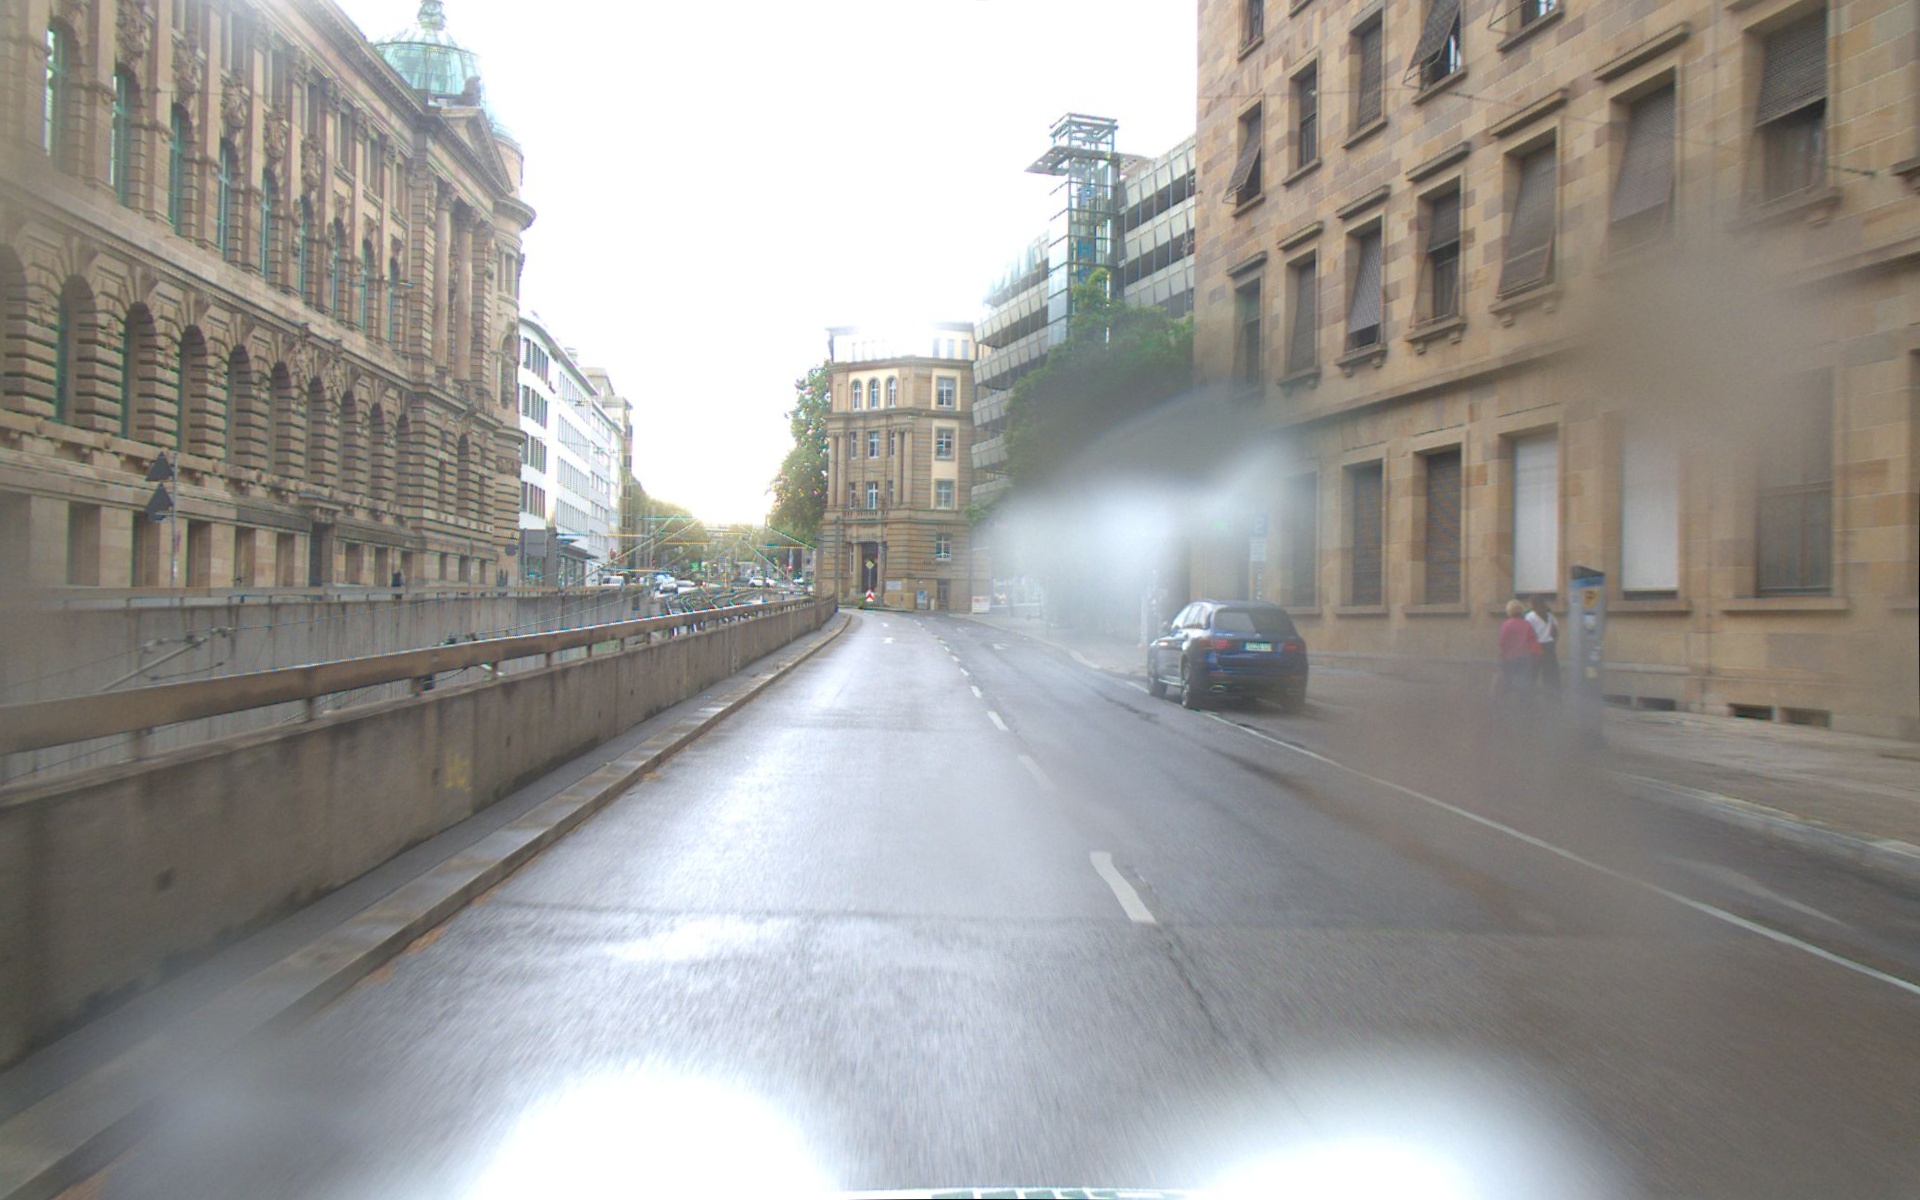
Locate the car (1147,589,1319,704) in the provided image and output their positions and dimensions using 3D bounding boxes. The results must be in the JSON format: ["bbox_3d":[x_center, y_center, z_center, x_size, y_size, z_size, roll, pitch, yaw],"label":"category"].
[{"bbox_3d":[4.245,0.689,26.370,1.733,1.647,4.153,1,0,-5],"label":"car"}]

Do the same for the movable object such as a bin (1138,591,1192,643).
[{"bbox_3d":[5.437,0.449,43.929,1.214,1.333,1.233,-1,0,-2],"label":"movable object such as a bin"}]

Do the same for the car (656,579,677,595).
[{"bbox_3d":[-29.662,-1.282,167.276,1.956,1.554,3.656,2,0,-8],"label":"car"}]

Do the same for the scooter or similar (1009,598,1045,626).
[{"bbox_3d":[3.270,0.576,80.833,1.616,1.290,0.736,-1,1,-28],"label":"scooter or similar"}]

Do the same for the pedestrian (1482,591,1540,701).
[{"bbox_3d":[7.744,0.637,23.270,0.514,1.518,0.673,1,0,-7],"label":"pedestrian"}]

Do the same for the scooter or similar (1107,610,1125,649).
[{"bbox_3d":[5.182,0.973,54.960,0.438,1.281,1.211,0,1,-3],"label":"scooter or similar"}]

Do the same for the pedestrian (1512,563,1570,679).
[{"bbox_3d":[8.288,0.295,23.620,0.514,1.631,0.673,1,0,-7],"label":"pedestrian"}]

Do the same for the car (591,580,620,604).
[{"bbox_3d":[-30.509,-0.701,142.526,1.956,1.915,4.918,2,0,-8],"label":"car"}]
